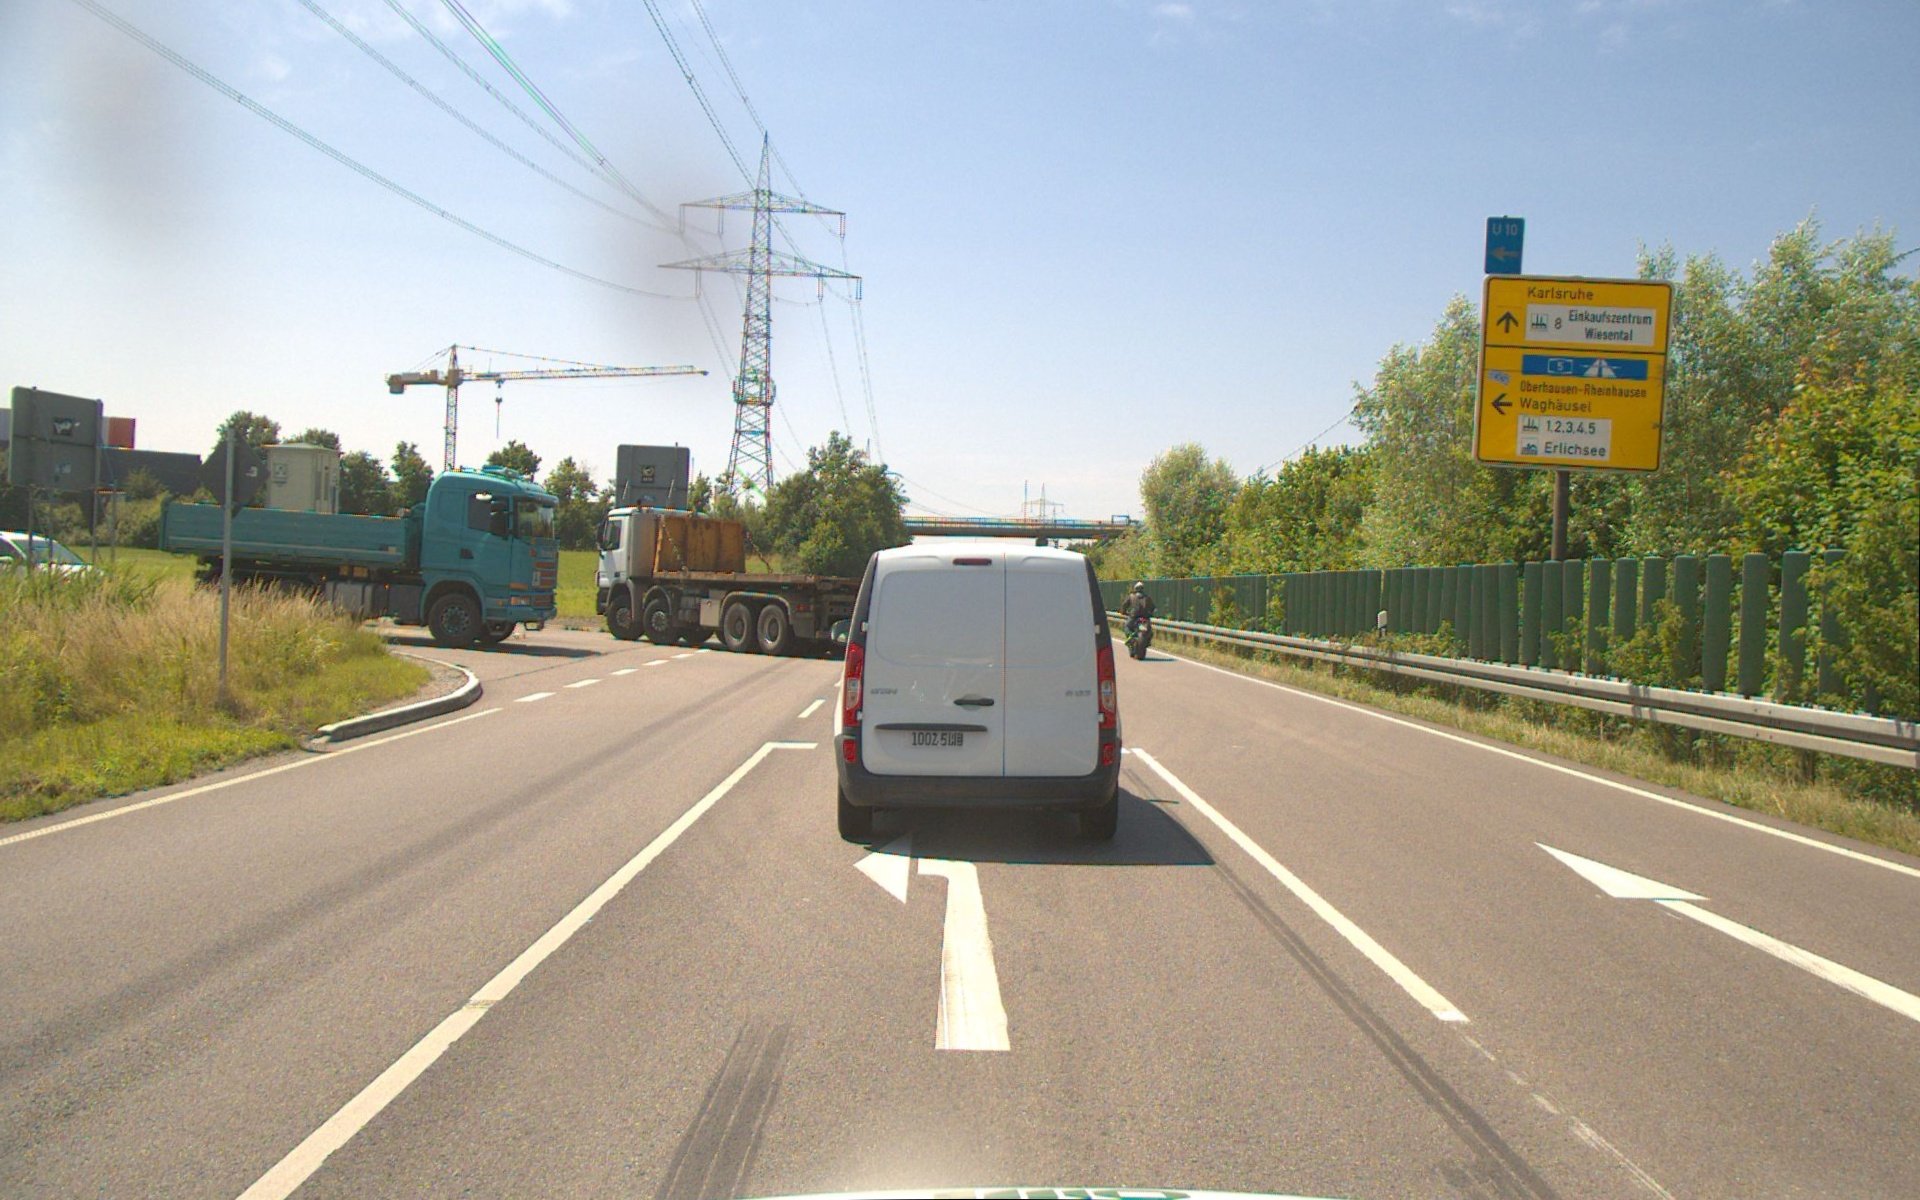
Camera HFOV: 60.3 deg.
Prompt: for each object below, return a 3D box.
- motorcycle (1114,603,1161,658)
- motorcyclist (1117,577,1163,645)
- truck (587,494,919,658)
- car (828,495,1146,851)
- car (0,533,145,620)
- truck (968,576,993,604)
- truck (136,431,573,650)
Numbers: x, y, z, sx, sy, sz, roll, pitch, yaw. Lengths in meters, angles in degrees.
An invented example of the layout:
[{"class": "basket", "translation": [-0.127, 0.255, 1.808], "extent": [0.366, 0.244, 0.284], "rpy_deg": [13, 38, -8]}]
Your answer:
[{"class": "motorcycle", "translation": [4.033, 0.682, 37.711], "extent": [0.774, 1.178, 1.901], "rpy_deg": [2, 0, -1]}, {"class": "motorcyclist", "translation": [4.066, 0.242, 37.421], "extent": [0.871, 1.502, 1.002], "rpy_deg": [1, 0, -1]}, {"class": "truck", "translation": [-5.062, -0.637, 38.269], "extent": [2.804, 3.345, 9.558], "rpy_deg": [1, 1, -41]}, {"class": "car", "translation": [0.137, 0.403, 11.433], "extent": [1.790, 2.005, 4.000], "rpy_deg": [1, 0, -1]}, {"class": "car", "translation": [-19.335, -0.537, 33.928], "extent": [4.445, 1.640, 1.969], "rpy_deg": [3, 1, 14]}, {"class": "truck", "translation": [2.108, -0.992, 171.051], "extent": [2.326, 2.736, 8.009], "rpy_deg": [2, 0, -1]}, {"class": "truck", "translation": [-12.157, -1.175, 33.609], "extent": [7.741, 3.799, 2.499], "rpy_deg": [4, 0, 2]}]
